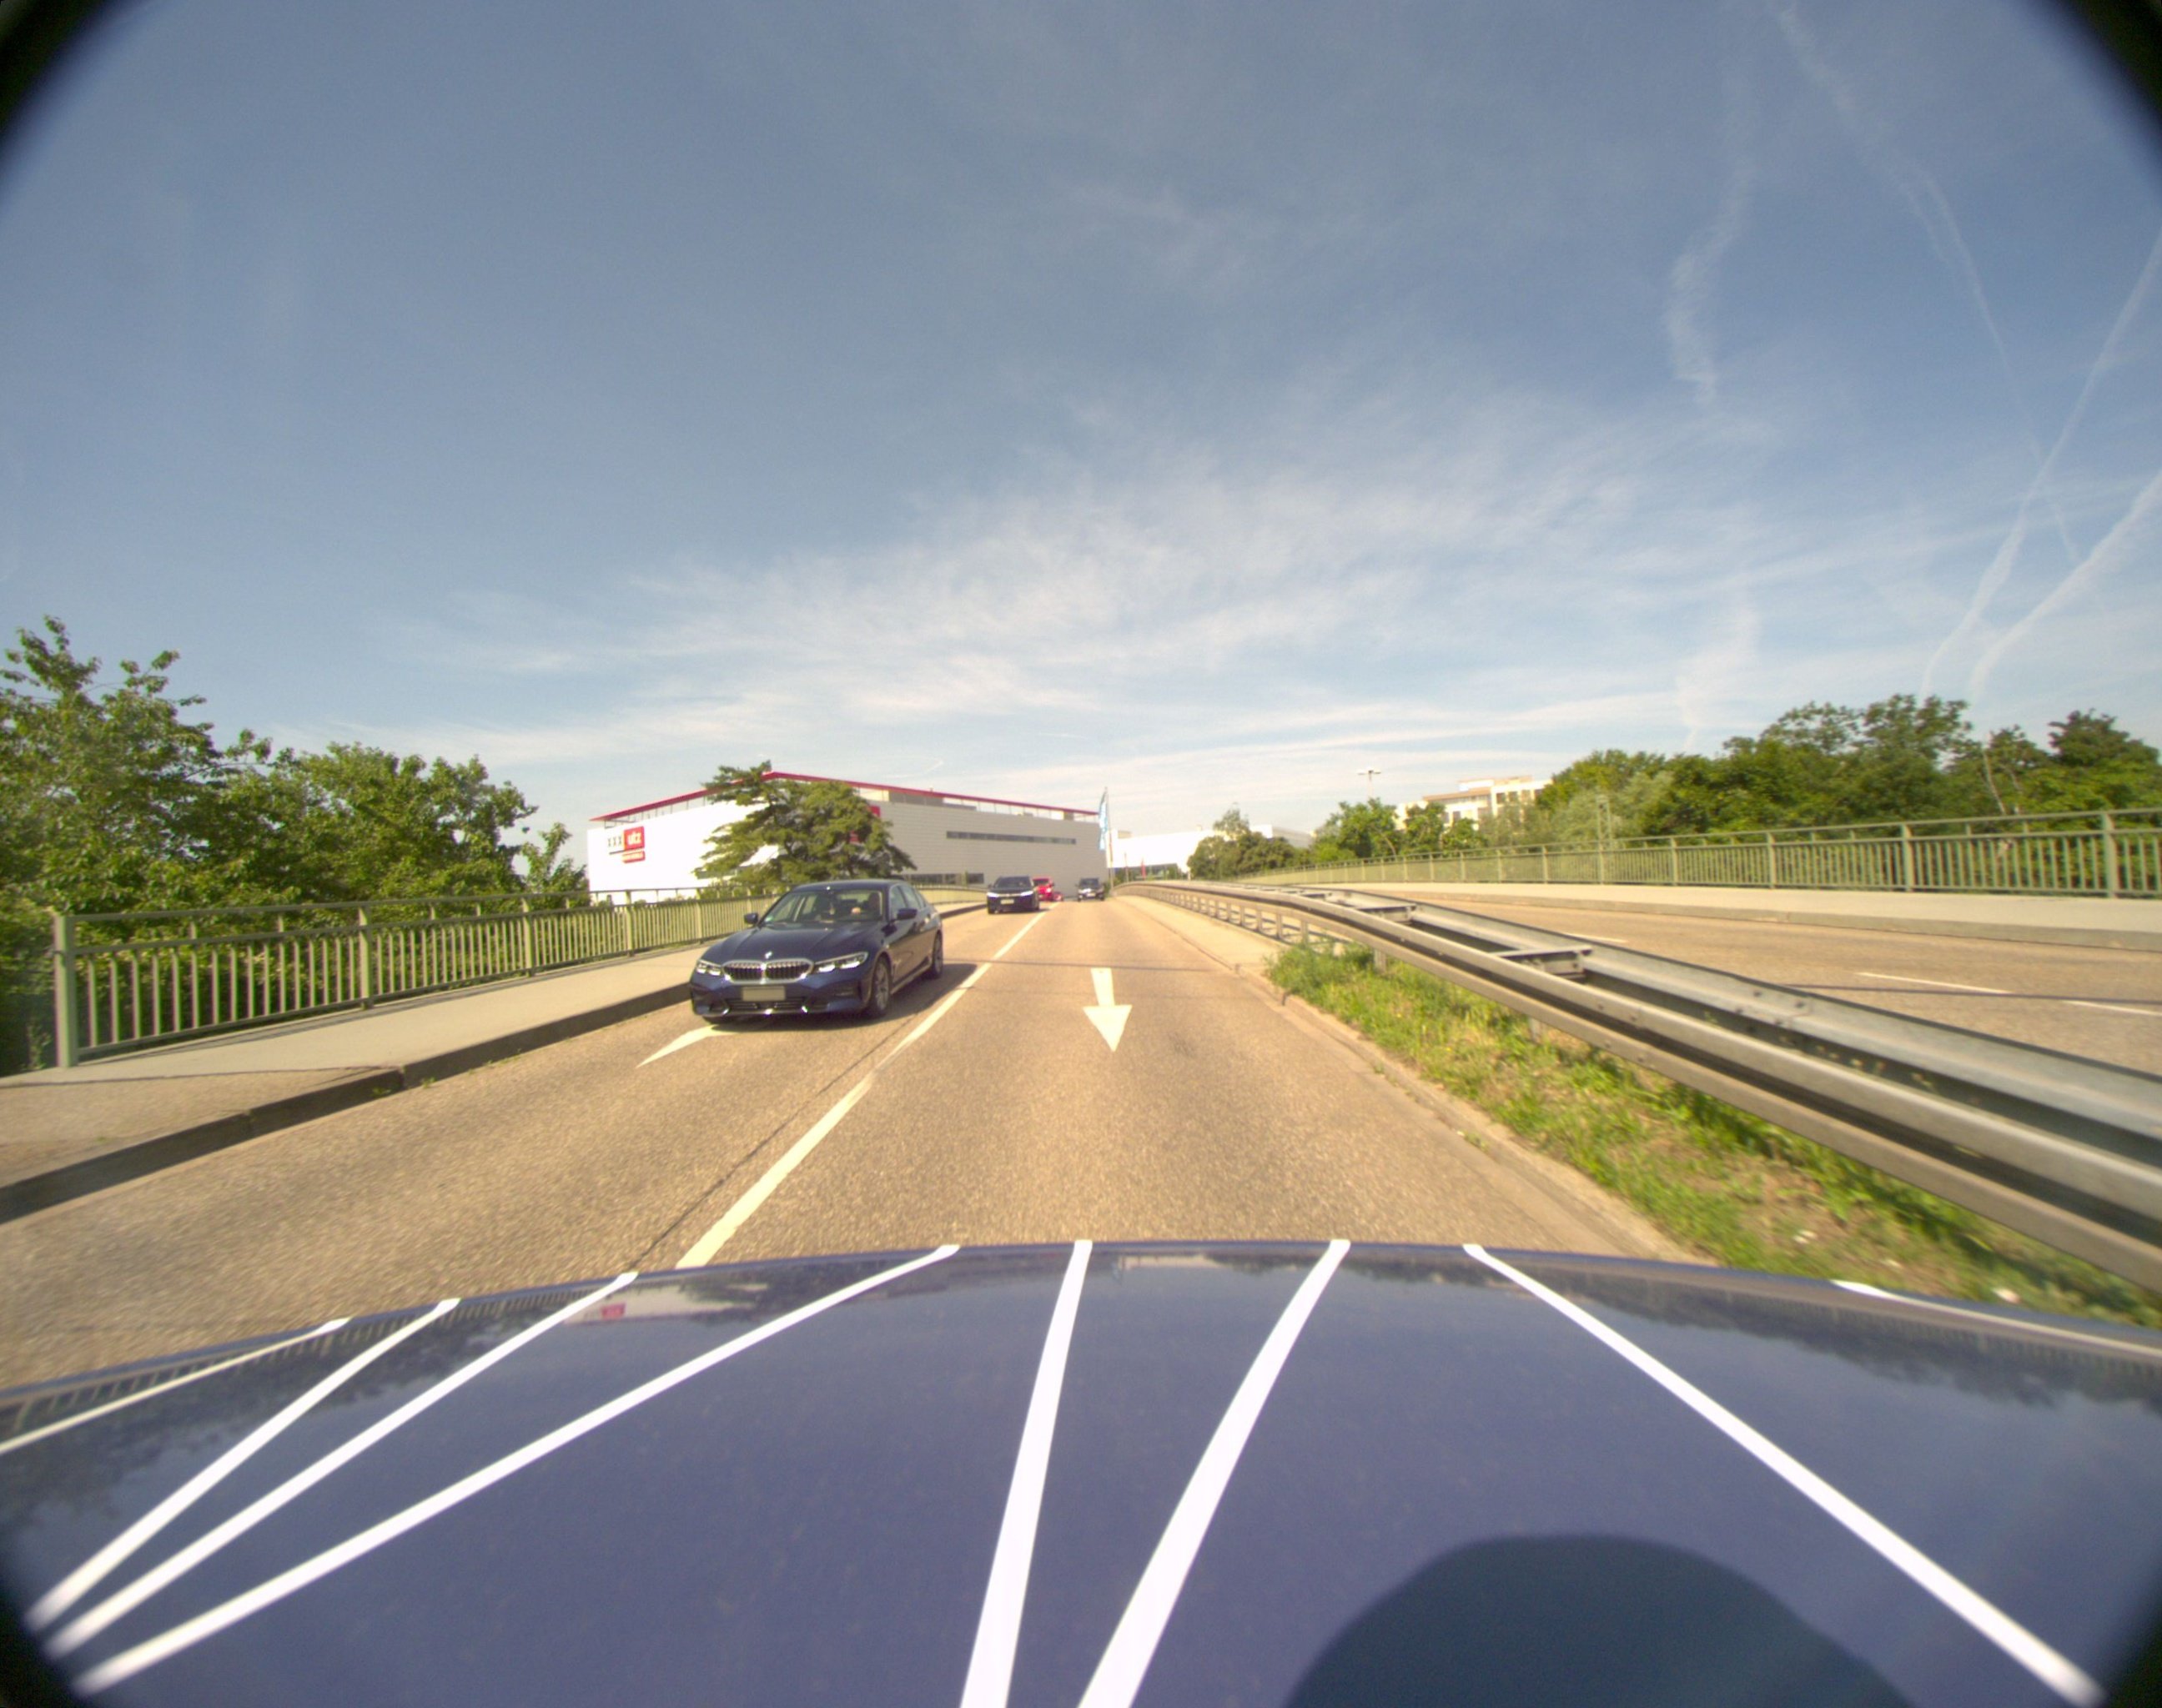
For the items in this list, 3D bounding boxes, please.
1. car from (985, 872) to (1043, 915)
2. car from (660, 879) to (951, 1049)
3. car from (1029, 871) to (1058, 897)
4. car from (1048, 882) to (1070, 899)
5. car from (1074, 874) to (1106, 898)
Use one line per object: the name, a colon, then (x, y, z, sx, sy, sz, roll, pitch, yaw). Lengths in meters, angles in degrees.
car: (-2.655, 1.552, 31.004, 1.861, 1.520, 4.145, -3, -1, 1)
car: (-2.927, 1.111, 9.248, 1.792, 1.474, 4.522, -3, -3, 1)
car: (-2.861, 2.349, 58.655, 1.988, 1.895, 4.146, -2, -3, 0)
car: (-2.263, 3.833, 79.448, 1.776, 1.648, 4.148, -1, -3, 5)
car: (0.590, 1.942, 46.950, 1.849, 1.409, 4.001, -1, -2, 2)
